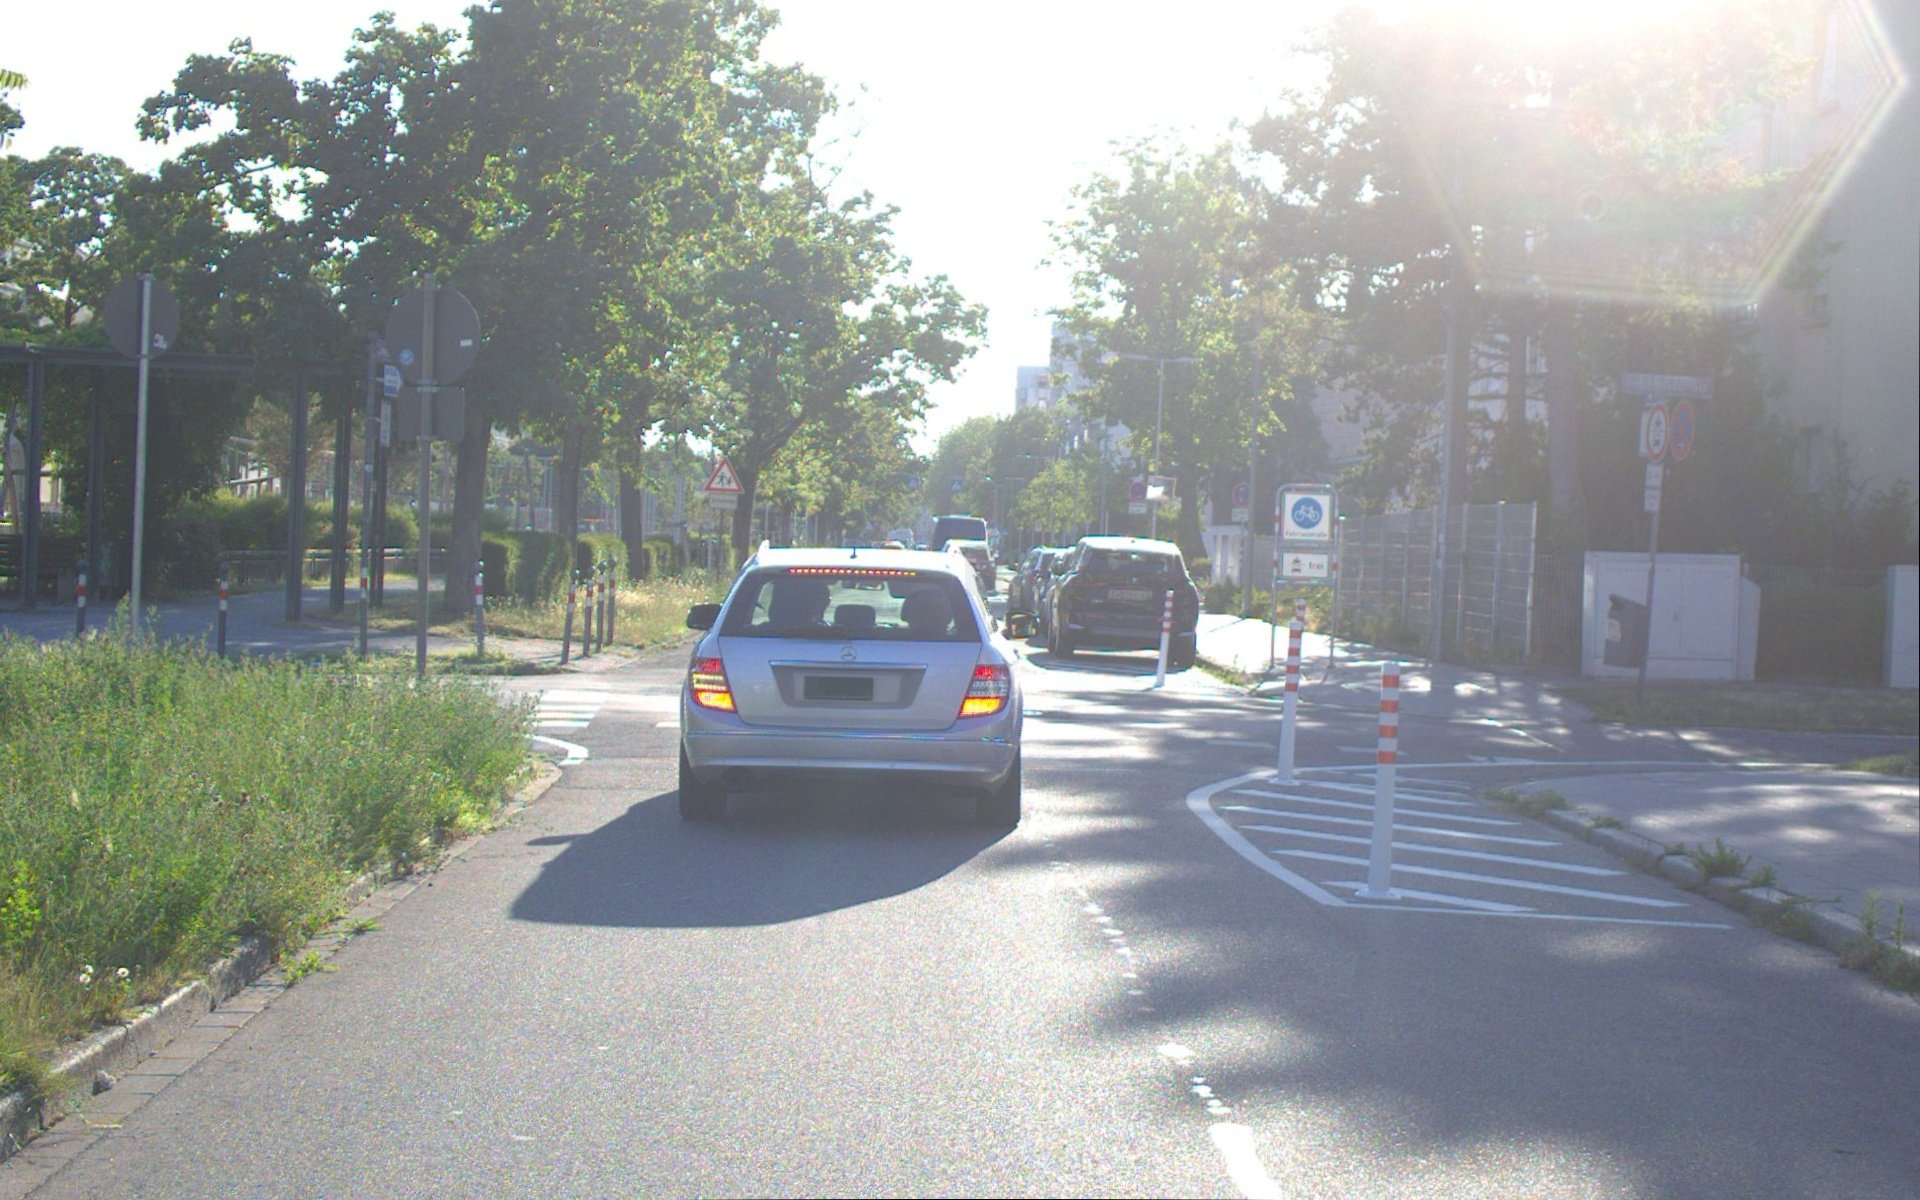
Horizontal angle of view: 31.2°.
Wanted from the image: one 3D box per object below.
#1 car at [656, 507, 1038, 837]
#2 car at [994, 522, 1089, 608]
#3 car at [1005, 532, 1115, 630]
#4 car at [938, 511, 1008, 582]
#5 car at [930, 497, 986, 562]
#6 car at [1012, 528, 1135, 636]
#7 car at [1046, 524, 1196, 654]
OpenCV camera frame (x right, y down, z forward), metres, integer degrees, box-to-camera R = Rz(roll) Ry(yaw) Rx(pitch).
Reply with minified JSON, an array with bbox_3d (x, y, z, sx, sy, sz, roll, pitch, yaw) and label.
[{"bbox_3d":[-0.563,0.297,18.694,1.823,1.561,4.000,1,2,0],"label":"car"},{"bbox_3d":[1.612,-0.718,69.075,1.721,1.591,4.000,2,1,-1],"label":"car"},{"bbox_3d":[1.721,-0.357,60.419,1.721,1.591,4.000,2,1,-1],"label":"car"},{"bbox_3d":[0.374,-1.627,103.753,1.988,2.016,4.000,2,1,0],"label":"car"},{"bbox_3d":[-0.097,-2.490,122.036,1.861,2.185,5.070,2,1,0],"label":"car"},{"bbox_3d":[1.773,-0.311,54.794,1.721,1.591,4.000,2,1,-1],"label":"car"},{"bbox_3d":[2.088,-0.147,45.539,1.721,1.591,4.000,2,0,-1],"label":"car"}]
